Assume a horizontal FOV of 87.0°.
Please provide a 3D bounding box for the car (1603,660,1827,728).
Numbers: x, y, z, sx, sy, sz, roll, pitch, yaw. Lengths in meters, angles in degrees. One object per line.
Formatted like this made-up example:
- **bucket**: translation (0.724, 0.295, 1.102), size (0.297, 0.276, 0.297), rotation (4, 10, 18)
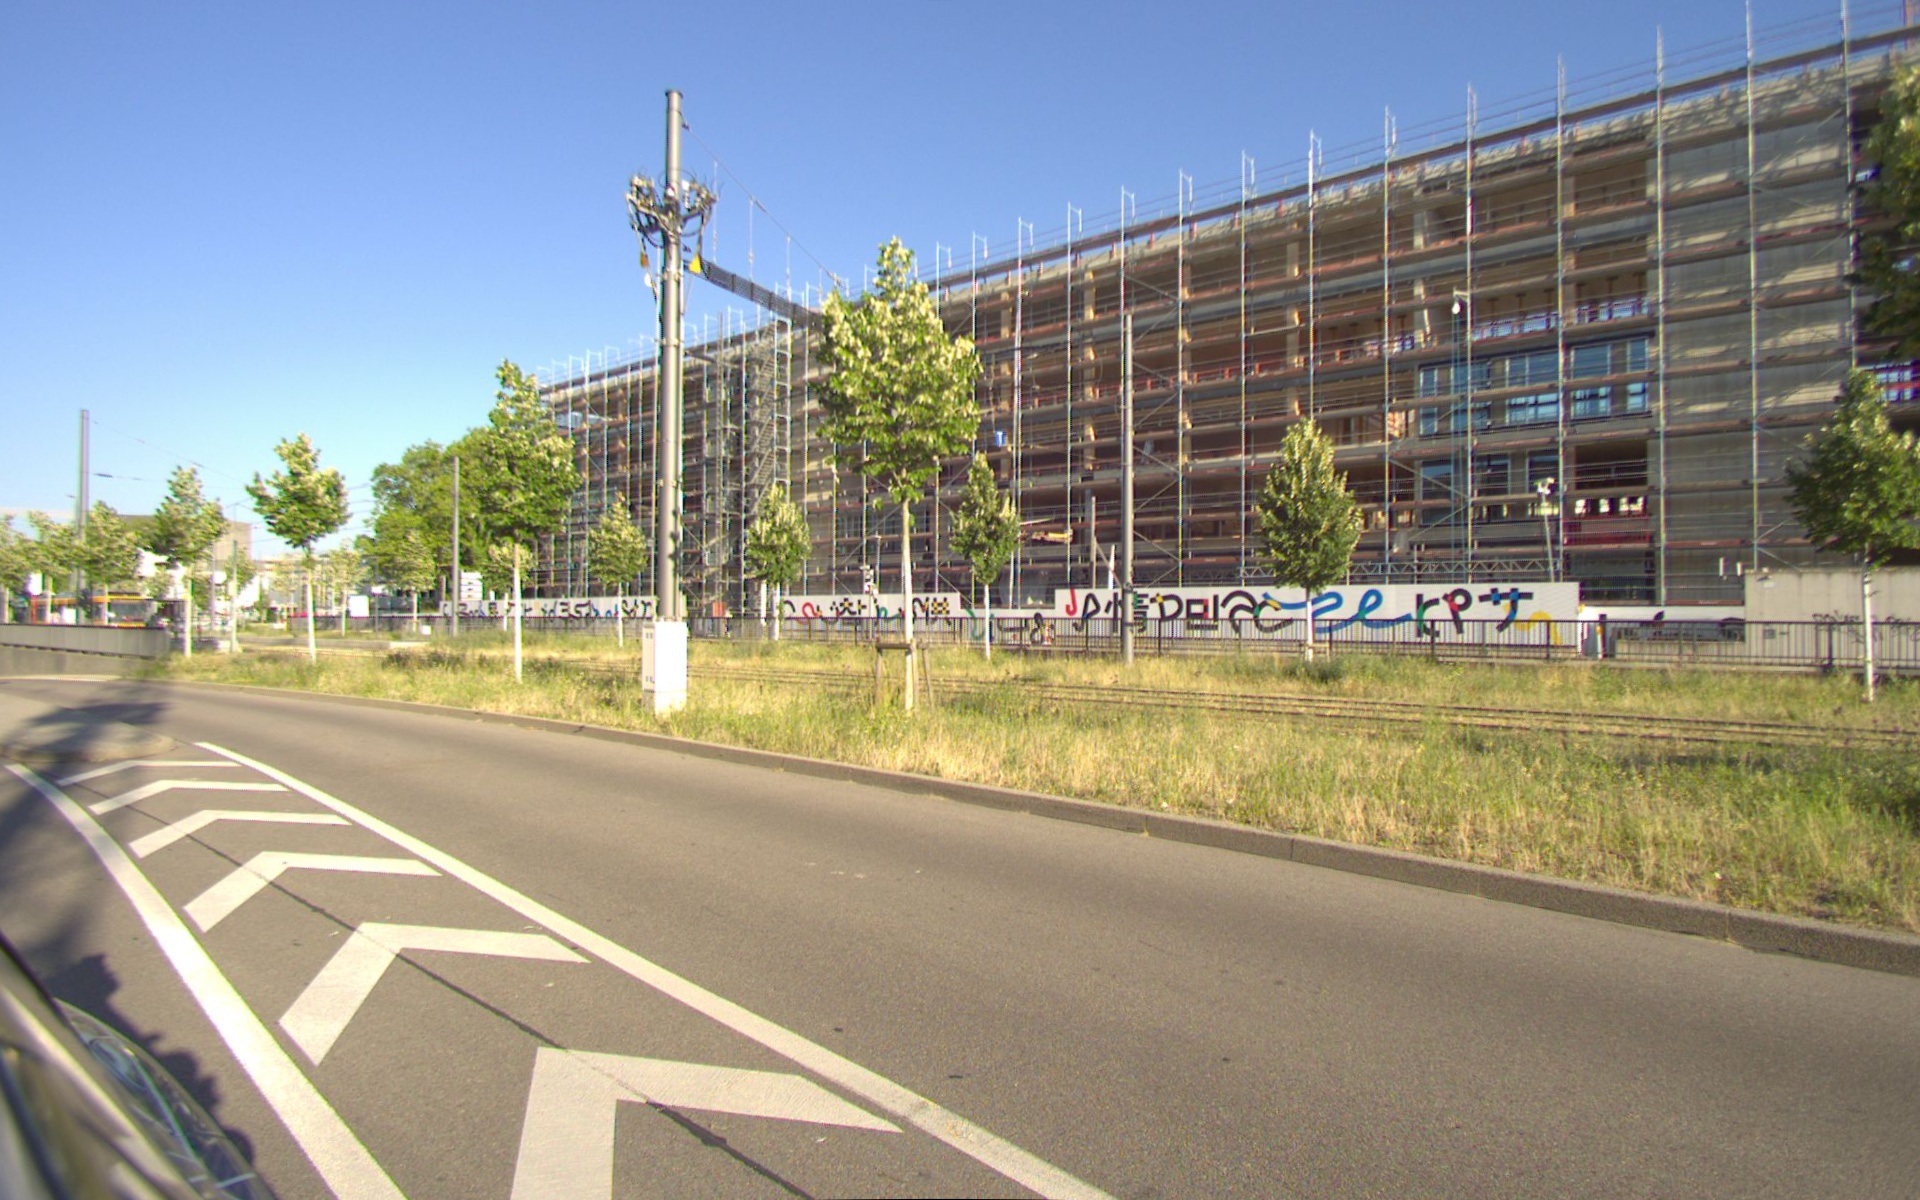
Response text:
- **car**: translation (17.567, 2.141, 23.681), size (4.091, 1.320, 1.511), rotation (-1, -1, 41)

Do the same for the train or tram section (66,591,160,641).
- **train or tram section**: translation (-62.481, 1.130, 74.485), size (12.619, 3.423, 2.917), rotation (-1, 0, 39)

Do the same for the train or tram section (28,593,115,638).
- **train or tram section**: translation (-73.136, 1.283, 83.119), size (14.749, 3.423, 2.917), rotation (-1, 0, 39)
